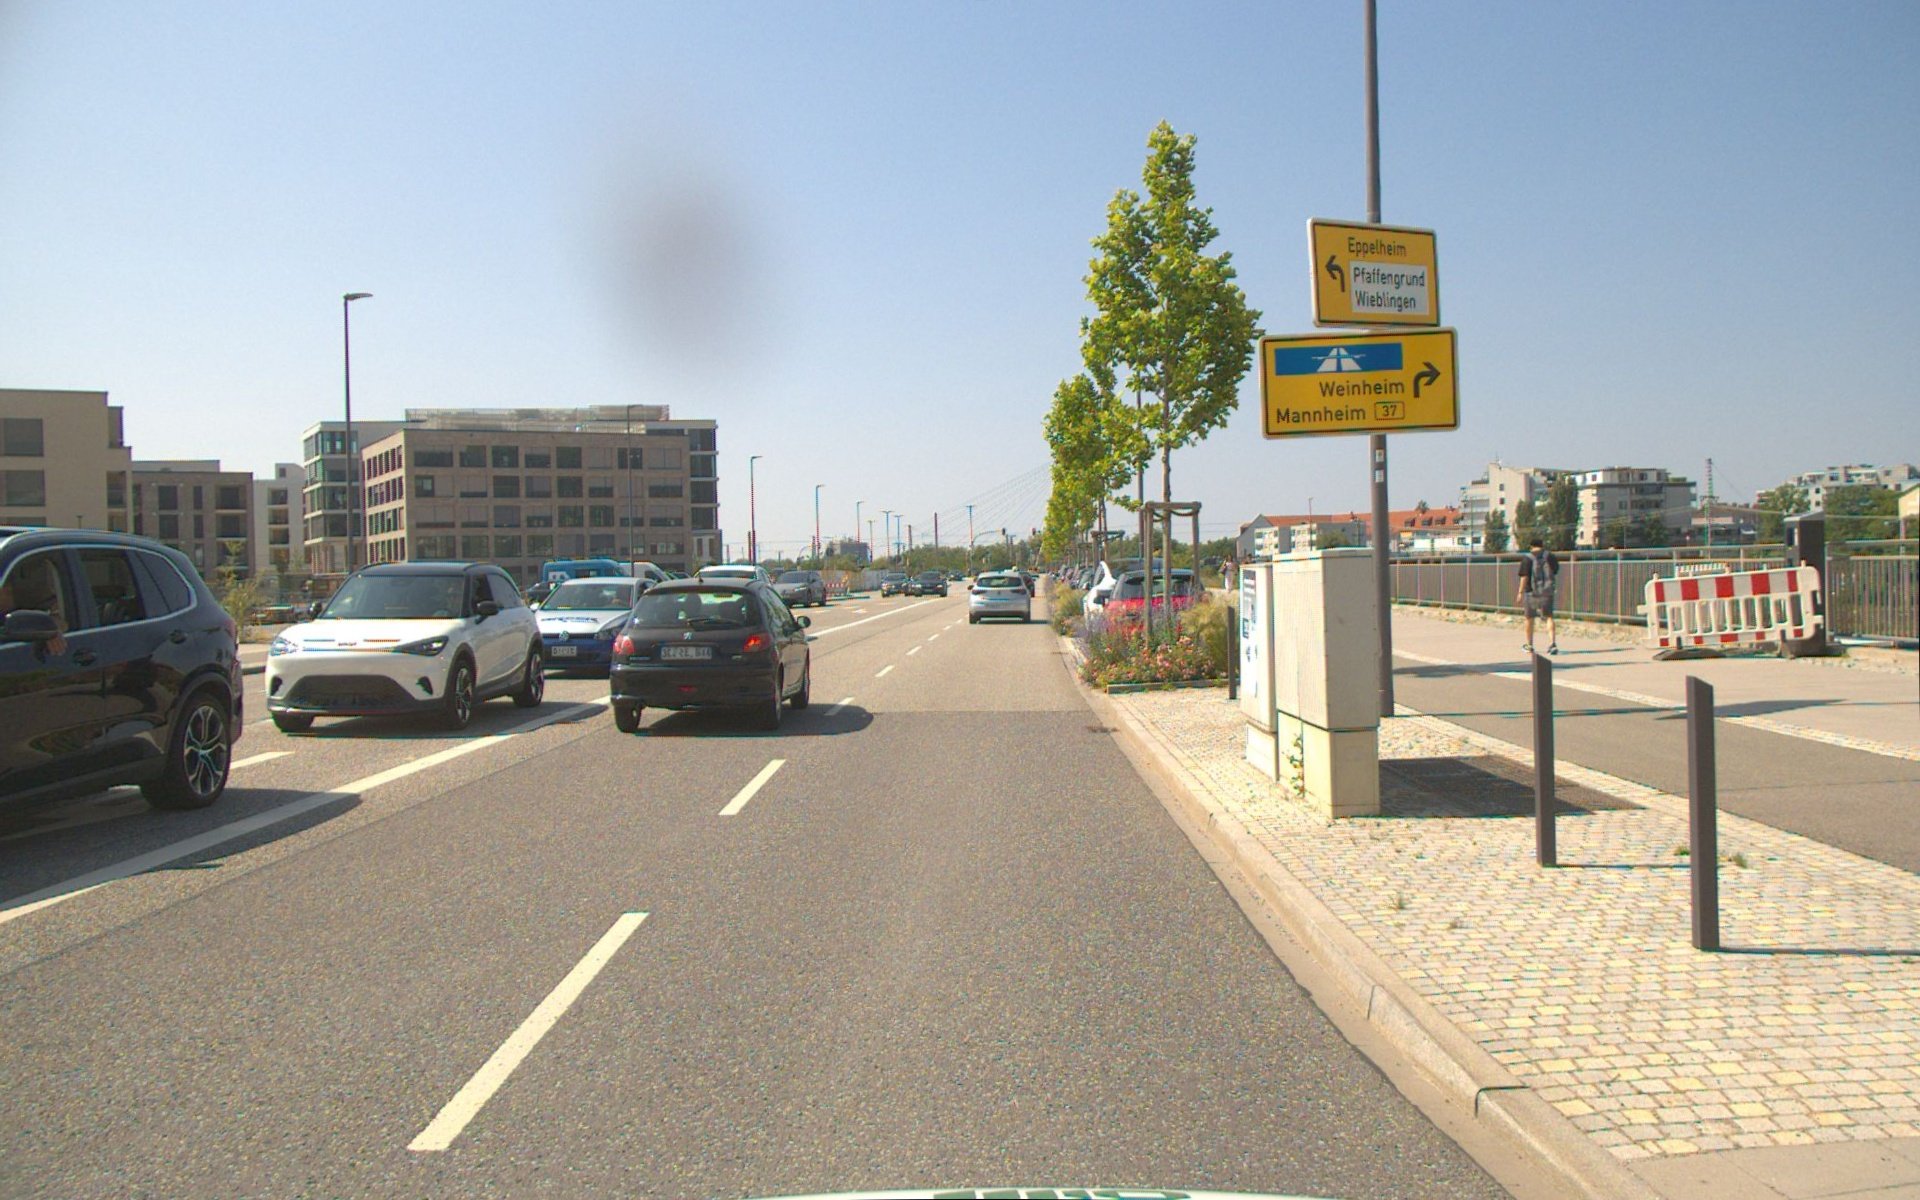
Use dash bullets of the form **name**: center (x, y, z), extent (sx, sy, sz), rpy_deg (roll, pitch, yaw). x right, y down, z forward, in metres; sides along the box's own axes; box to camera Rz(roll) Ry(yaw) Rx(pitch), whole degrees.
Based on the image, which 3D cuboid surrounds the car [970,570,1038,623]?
- **car**: center (1.334, -0.118, 48.394), extent (1.740, 1.467, 4.002), rpy_deg (0, 0, 5)

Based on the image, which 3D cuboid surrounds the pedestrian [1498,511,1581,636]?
- **pedestrian**: center (8.002, -0.370, 22.872), extent (0.735, 1.637, 0.949), rpy_deg (-4, 1, 2)

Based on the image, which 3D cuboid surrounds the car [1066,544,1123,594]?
- **car**: center (4.751, -1.139, 58.870), extent (1.868, 1.644, 4.551), rpy_deg (-2, 2, 4)

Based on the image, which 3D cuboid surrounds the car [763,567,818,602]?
- **car**: center (-7.301, -0.641, 71.419), extent (1.854, 1.440, 3.599), rpy_deg (0, 0, 2)

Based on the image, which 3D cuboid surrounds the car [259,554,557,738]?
- **car**: center (-5.652, 0.375, 17.484), extent (1.742, 1.711, 4.099), rpy_deg (0, 1, 0)

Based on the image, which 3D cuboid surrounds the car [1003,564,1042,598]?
- **car**: center (3.061, -0.894, 80.495), extent (1.740, 1.596, 4.002), rpy_deg (0, 0, 4)

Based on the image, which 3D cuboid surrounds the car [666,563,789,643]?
- **car**: center (-5.136, 0.032, 37.147), extent (1.873, 1.678, 4.733), rpy_deg (0, 1, 3)

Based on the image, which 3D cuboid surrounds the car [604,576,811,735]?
- **car**: center (-2.492, 0.503, 17.084), extent (1.586, 1.441, 3.727), rpy_deg (0, 0, -1)

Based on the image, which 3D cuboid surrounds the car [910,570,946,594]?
- **car**: center (-1.910, -1.090, 99.216), extent (1.750, 1.422, 4.574), rpy_deg (-1, 1, 4)

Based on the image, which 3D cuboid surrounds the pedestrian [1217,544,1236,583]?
- **pedestrian**: center (11.831, -1.614, 73.436), extent (0.764, 1.735, 0.742), rpy_deg (-1, 0, 3)

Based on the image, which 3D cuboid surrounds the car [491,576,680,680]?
- **car**: center (-5.678, 0.373, 25.598), extent (1.749, 1.446, 4.284), rpy_deg (-1, 1, 3)

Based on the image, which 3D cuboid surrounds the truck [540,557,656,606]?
- **truck**: center (-19.842, -0.994, 90.861), extent (5.881, 2.588, 2.275), rpy_deg (0, 0, 0)

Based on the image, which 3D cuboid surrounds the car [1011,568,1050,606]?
- **car**: center (3.411, -0.624, 80.881), extent (1.756, 1.780, 4.000), rpy_deg (-1, 0, 0)

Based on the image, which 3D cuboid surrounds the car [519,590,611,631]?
- **car**: center (-19.068, 0.491, 79.850), extent (3.902, 1.937, 1.829), rpy_deg (0, 0, 10)

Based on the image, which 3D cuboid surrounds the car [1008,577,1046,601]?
- **car**: center (3.761, -0.604, 93.961), extent (1.601, 1.333, 3.995), rpy_deg (0, 0, -6)

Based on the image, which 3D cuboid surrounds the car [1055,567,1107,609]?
- **car**: center (4.795, -0.502, 65.978), extent (1.571, 1.517, 3.817), rpy_deg (-3, 1, -2)

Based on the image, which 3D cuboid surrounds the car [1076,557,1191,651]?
- **car**: center (3.258, 0.055, 31.870), extent (1.833, 1.655, 4.877), rpy_deg (0, 0, 2)

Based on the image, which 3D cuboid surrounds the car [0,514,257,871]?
- **car**: center (-5.848, 0.457, 9.148), extent (1.899, 1.820, 4.656), rpy_deg (0, 1, 0)

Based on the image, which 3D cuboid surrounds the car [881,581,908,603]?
- **car**: center (-4.343, -0.542, 110.265), extent (1.757, 1.441, 3.999), rpy_deg (0, 0, -1)

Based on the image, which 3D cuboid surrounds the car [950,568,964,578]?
- **car**: center (-0.431, -3.733, 228.201), extent (1.668, 1.375, 4.458), rpy_deg (-2, 0, 3)

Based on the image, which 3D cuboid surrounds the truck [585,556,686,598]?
- **truck**: center (-19.157, -1.326, 97.842), extent (5.451, 2.404, 2.275), rpy_deg (0, 0, 1)

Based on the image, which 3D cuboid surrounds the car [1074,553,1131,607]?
- **car**: center (4.286, -0.636, 50.193), extent (1.586, 1.504, 3.826), rpy_deg (-2, 2, 4)

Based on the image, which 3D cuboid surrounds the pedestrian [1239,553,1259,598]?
- **pedestrian**: center (11.189, -0.931, 64.047), extent (0.716, 1.735, 0.651), rpy_deg (0, -1, 3)

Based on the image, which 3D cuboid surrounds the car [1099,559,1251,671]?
- **car**: center (3.177, 0.171, 25.168), extent (1.952, 1.545, 4.002), rpy_deg (-1, 1, 3)
